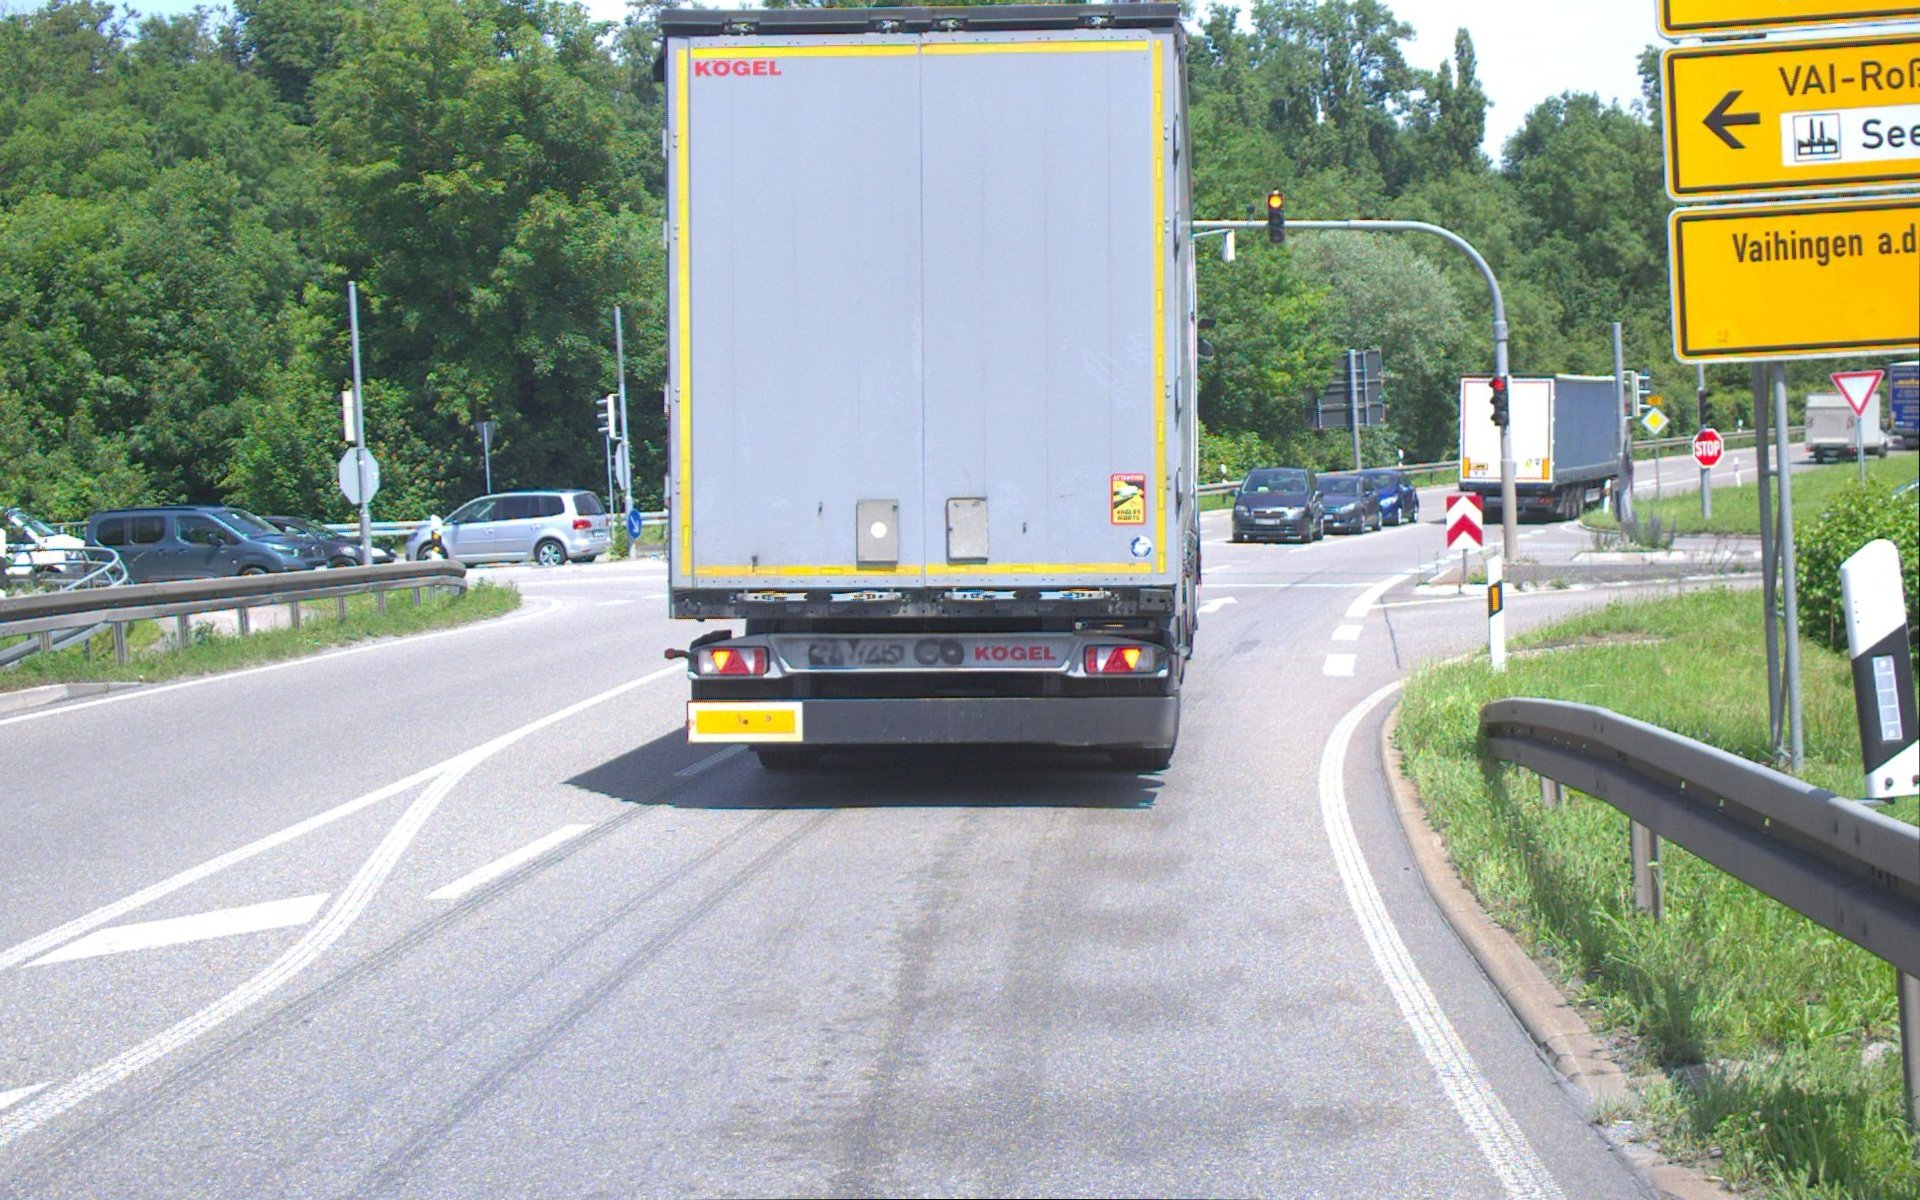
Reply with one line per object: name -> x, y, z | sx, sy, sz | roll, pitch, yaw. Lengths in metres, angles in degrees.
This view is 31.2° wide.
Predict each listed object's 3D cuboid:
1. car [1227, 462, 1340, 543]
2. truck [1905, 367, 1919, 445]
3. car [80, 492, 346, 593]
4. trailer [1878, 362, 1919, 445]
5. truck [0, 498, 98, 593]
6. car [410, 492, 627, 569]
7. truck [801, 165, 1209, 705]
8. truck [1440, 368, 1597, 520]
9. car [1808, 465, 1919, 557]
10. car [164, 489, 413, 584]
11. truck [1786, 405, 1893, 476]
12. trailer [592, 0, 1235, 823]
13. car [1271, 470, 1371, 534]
car -> 7.552, -2.234, 79.957 | 1.995, 1.779, 4.940 | 1, 1, 13
truck -> 47.570, -9.272, 164.632 | 3.256, 3.672, 6.235 | 1, 2, 27
car -> -13.485, -1.042, 62.122 | 4.236, 1.764, 1.999 | 0, 1, 15
trailer -> 45.647, -9.146, 160.876 | 3.256, 3.672, 9.237 | 1, 2, 27
truck -> -19.177, -1.053, 65.942 | 4.875, 1.785, 2.044 | 1, 0, -6
car -> -9.163, -1.440, 71.477 | 3.989, 1.514, 1.999 | 1, 0, 14
truck -> 0.528, -1.325, 29.076 | 3.038, 4.020, 6.629 | 0, 2, 3
truck -> 15.856, -4.450, 96.863 | 3.181, 4.014, 11.739 | 0, 3, 15
car -> 18.734, -1.702, 66.475 | 4.430, 1.712, 1.999 | 1, 0, 11
car -> -12.923, -1.223, 66.214 | 4.236, 1.764, 1.999 | 0, 1, 15
truck -> 37.555, -6.751, 146.659 | 2.859, 2.937, 7.094 | 1, 2, 27
trailer -> 0.139, -1.133, 22.710 | 3.052, 4.020, 12.558 | 0, 2, 3
car -> 9.116, -2.451, 86.579 | 1.995, 1.485, 4.255 | 1, 0, 13
